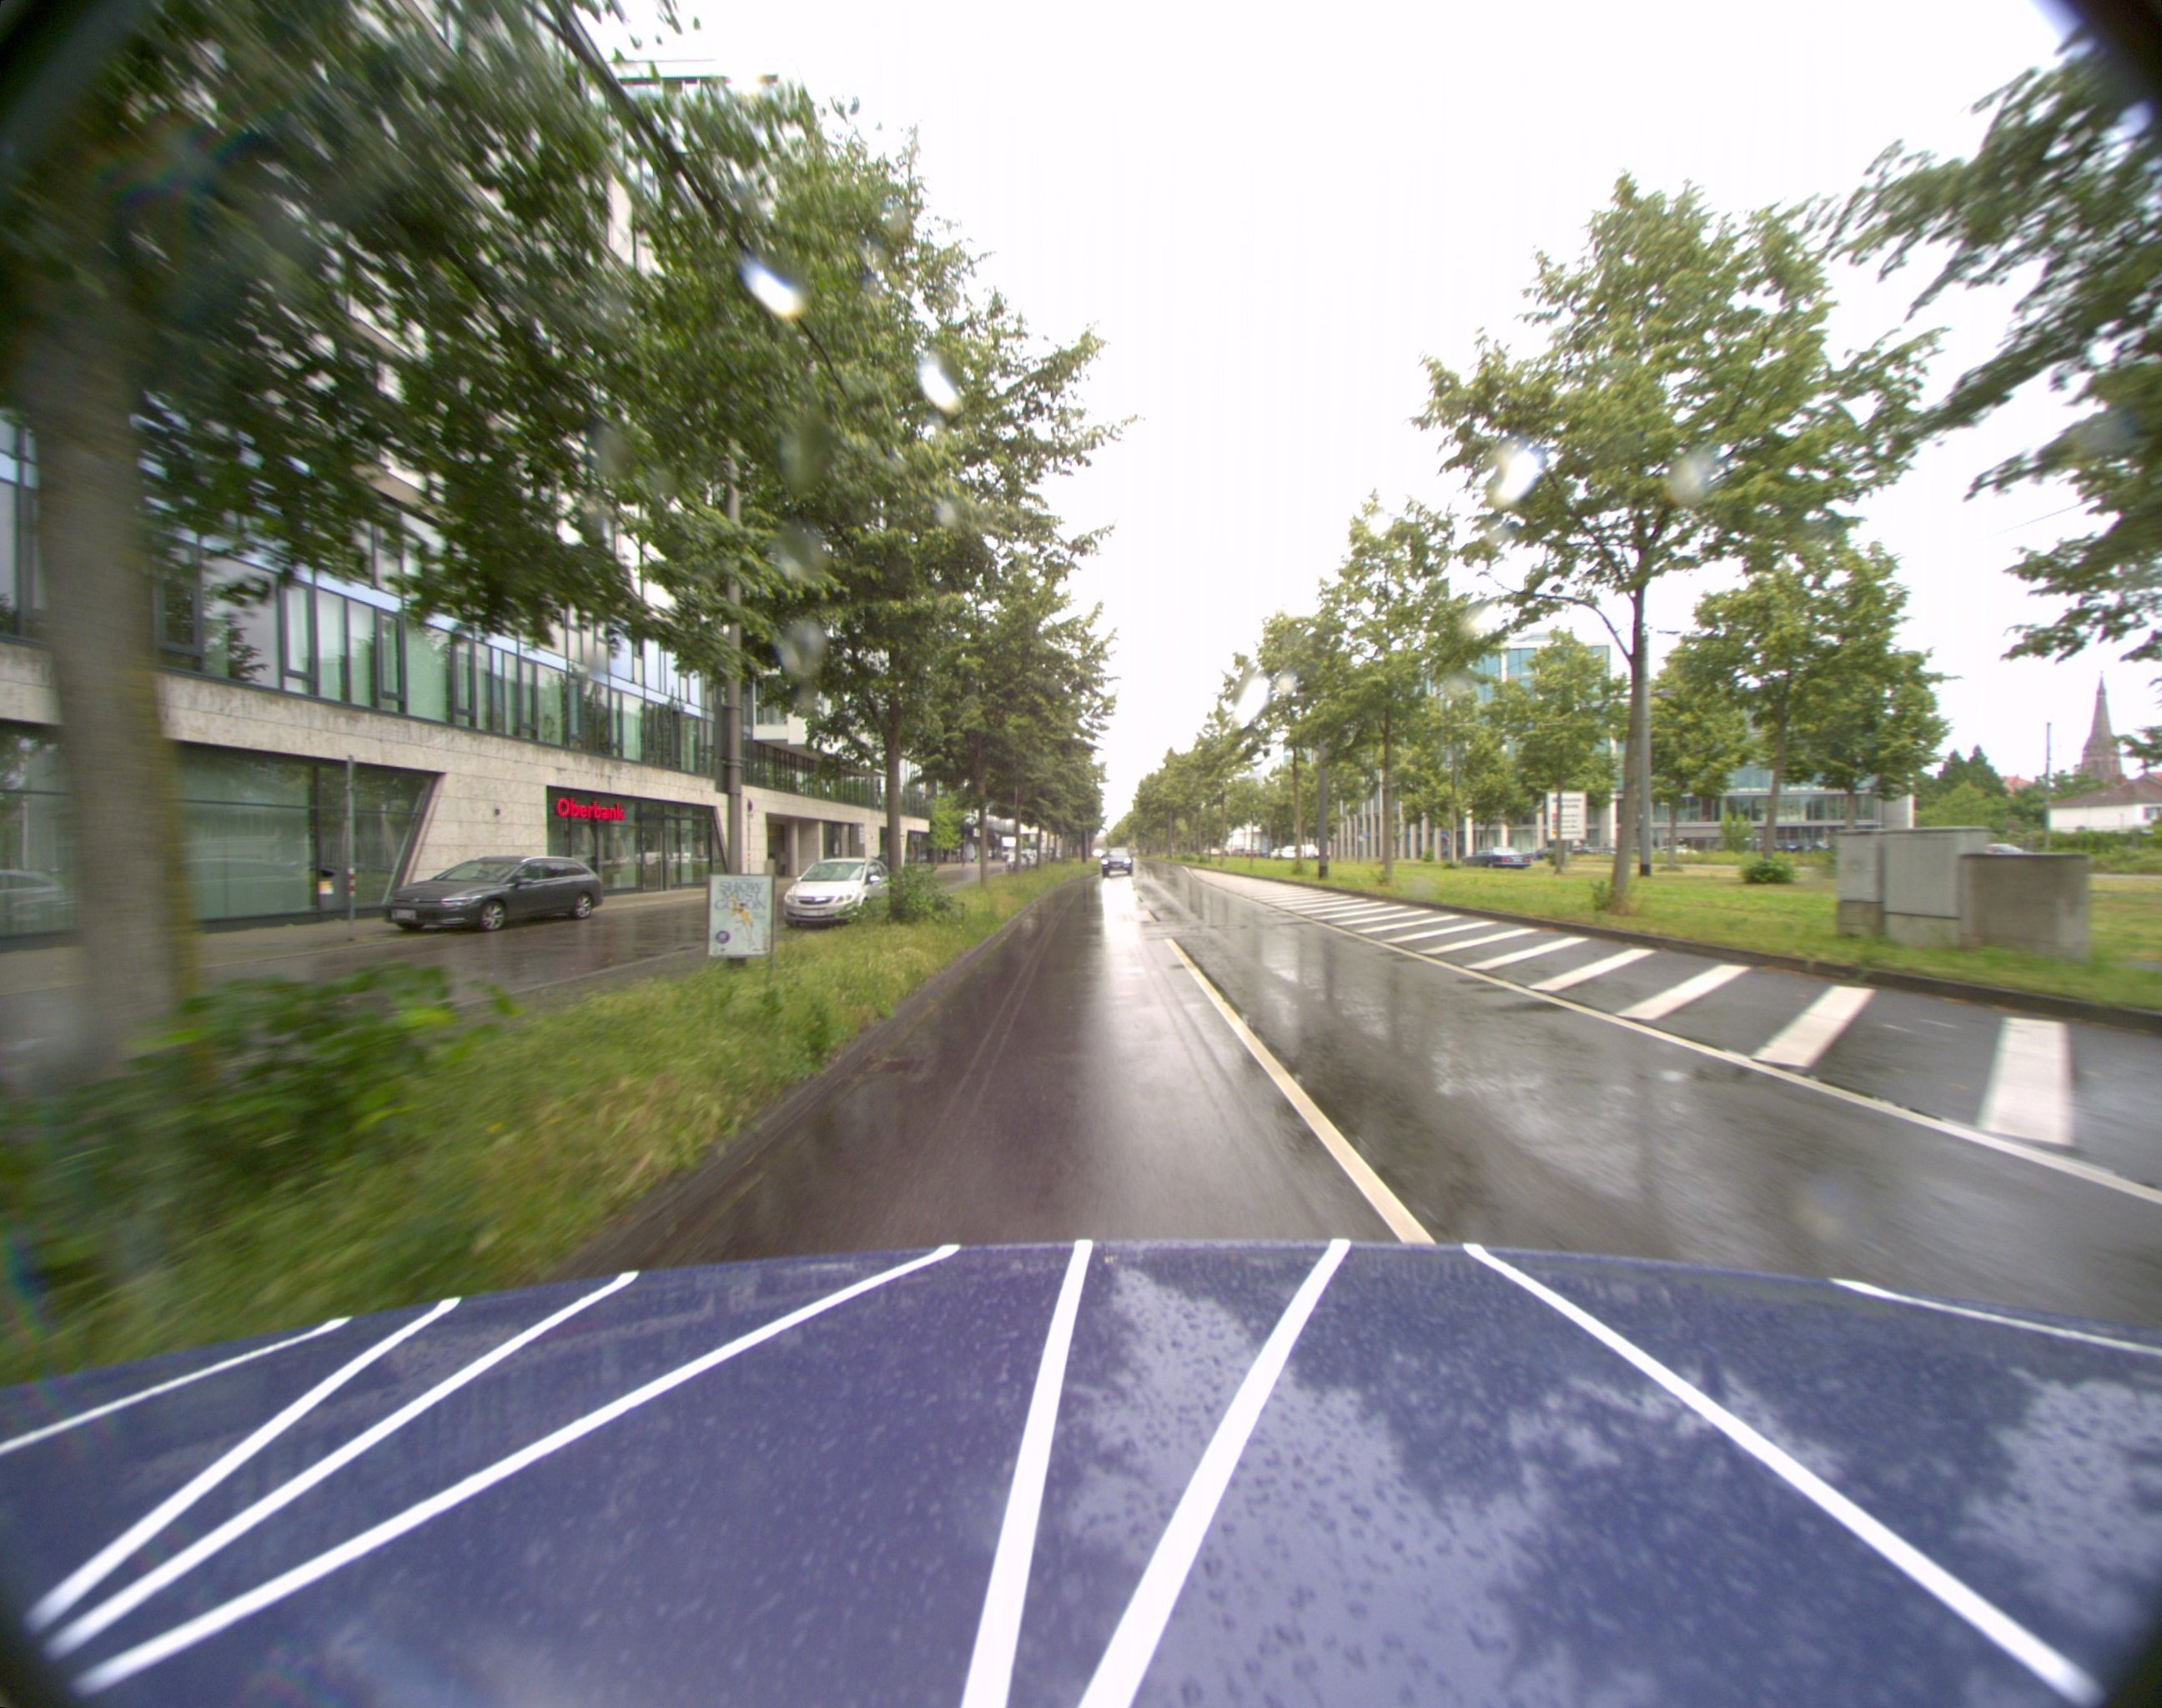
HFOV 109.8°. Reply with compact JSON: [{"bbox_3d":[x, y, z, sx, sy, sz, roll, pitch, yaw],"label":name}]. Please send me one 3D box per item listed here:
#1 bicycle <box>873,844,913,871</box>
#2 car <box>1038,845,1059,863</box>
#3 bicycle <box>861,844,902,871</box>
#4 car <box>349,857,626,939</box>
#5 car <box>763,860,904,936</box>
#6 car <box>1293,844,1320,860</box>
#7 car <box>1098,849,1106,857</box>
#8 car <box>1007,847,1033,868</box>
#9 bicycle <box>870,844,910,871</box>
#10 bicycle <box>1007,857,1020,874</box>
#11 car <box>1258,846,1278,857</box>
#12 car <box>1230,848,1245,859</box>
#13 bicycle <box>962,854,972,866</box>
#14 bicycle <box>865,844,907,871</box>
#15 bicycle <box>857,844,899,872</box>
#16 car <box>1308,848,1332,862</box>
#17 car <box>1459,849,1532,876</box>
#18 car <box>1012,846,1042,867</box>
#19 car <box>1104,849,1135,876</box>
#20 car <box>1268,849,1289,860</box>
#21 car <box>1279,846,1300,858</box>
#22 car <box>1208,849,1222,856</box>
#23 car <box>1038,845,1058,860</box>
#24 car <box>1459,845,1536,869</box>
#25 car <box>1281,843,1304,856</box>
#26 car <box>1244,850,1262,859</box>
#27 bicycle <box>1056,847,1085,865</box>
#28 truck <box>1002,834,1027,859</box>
[{"bbox_3d":[-13.555,0.250,54.882,2.685,1.850,0.707,-1,1,6],"label":"bicycle"},{"bbox_3d":[-3.770,0.029,87.808,1.998,1.940,5.031,-1,-2,2],"label":"car"},{"bbox_3d":[-13.789,0.246,52.554,2.685,1.850,0.707,-1,1,6],"label":"bicycle"},{"bbox_3d":[-12.549,0.844,16.647,1.998,1.492,5.035,1,0,2],"label":"car"},{"bbox_3d":[-5.507,0.954,17.560,1.886,1.496,4.724,-1,-2,-3],"label":"car"},{"bbox_3d":[31.069,-0.209,104.894,2.273,1.994,5.375,-1,-2,3],"label":"car"},{"bbox_3d":[4.855,-0.235,174.153,1.687,1.520,3.970,-1,-2,0],"label":"car"},{"bbox_3d":[-4.618,0.272,57.756,1.629,1.482,3.656,-1,-1,1],"label":"car"},{"bbox_3d":[-13.618,0.255,54.118,2.685,1.850,0.707,-1,1,6],"label":"bicycle"},{"bbox_3d":[-3.378,0.575,38.243,0.343,0.817,1.903,-1,-2,5],"label":"bicycle"},{"bbox_3d":[28.635,-0.395,116.471,1.956,1.485,3.963,-1,-2,-1],"label":"car"},{"bbox_3d":[28.173,-0.077,136.859,1.955,1.837,4.544,-1,-1,1],"label":"car"},{"bbox_3d":[-11.089,0.573,73.837,0.519,1.124,2.065,-1,1,4],"label":"bicycle"},{"bbox_3d":[-13.683,0.245,53.339,2.685,1.850,0.707,-1,1,6],"label":"bicycle"},{"bbox_3d":[-13.858,0.254,51.809,2.685,1.850,0.707,-1,1,6],"label":"bicycle"},{"bbox_3d":[30.466,0.098,96.875,1.955,1.739,4.577,-1,0,4],"label":"car"},{"bbox_3d":[23.299,0.433,42.947,1.492,1.290,4.976,-1,1,1],"label":"car"},{"bbox_3d":[-4.481,0.241,63.593,1.998,1.659,4.725,-1,-2,2],"label":"car"},{"bbox_3d":[2.457,0.497,49.424,1.928,1.651,4.716,0,0,2],"label":"car"},{"bbox_3d":[28.213,0.035,108.613,1.955,1.504,4.576,-1,0,1],"label":"car"},{"bbox_3d":[27.936,-0.260,101.998,1.955,1.452,4.834,-1,-2,5],"label":"car"},{"bbox_3d":[25.793,-0.314,146.061,1.955,1.444,4.576,-1,0,1],"label":"car"},{"bbox_3d":[-3.526,-0.131,80.891,1.962,1.504,4.480,-1,1,-5],"label":"car"},{"bbox_3d":[23.260,0.176,42.651,1.553,1.258,4.852,-1,-1,-1],"label":"car"},{"bbox_3d":[31.359,-0.617,112.860,1.956,1.641,5.031,-1,-2,-1],"label":"car"},{"bbox_3d":[28.725,0.101,126.742,1.955,1.377,4.606,-1,-2,1],"label":"car"},{"bbox_3d":[-0.738,0.142,54.789,2.040,1.190,0.491,-1,1,1],"label":"bicycle"},{"bbox_3d":[-9.597,-1.042,111.102,3.032,3.421,8.546,-1,0,-1],"label":"truck"}]
